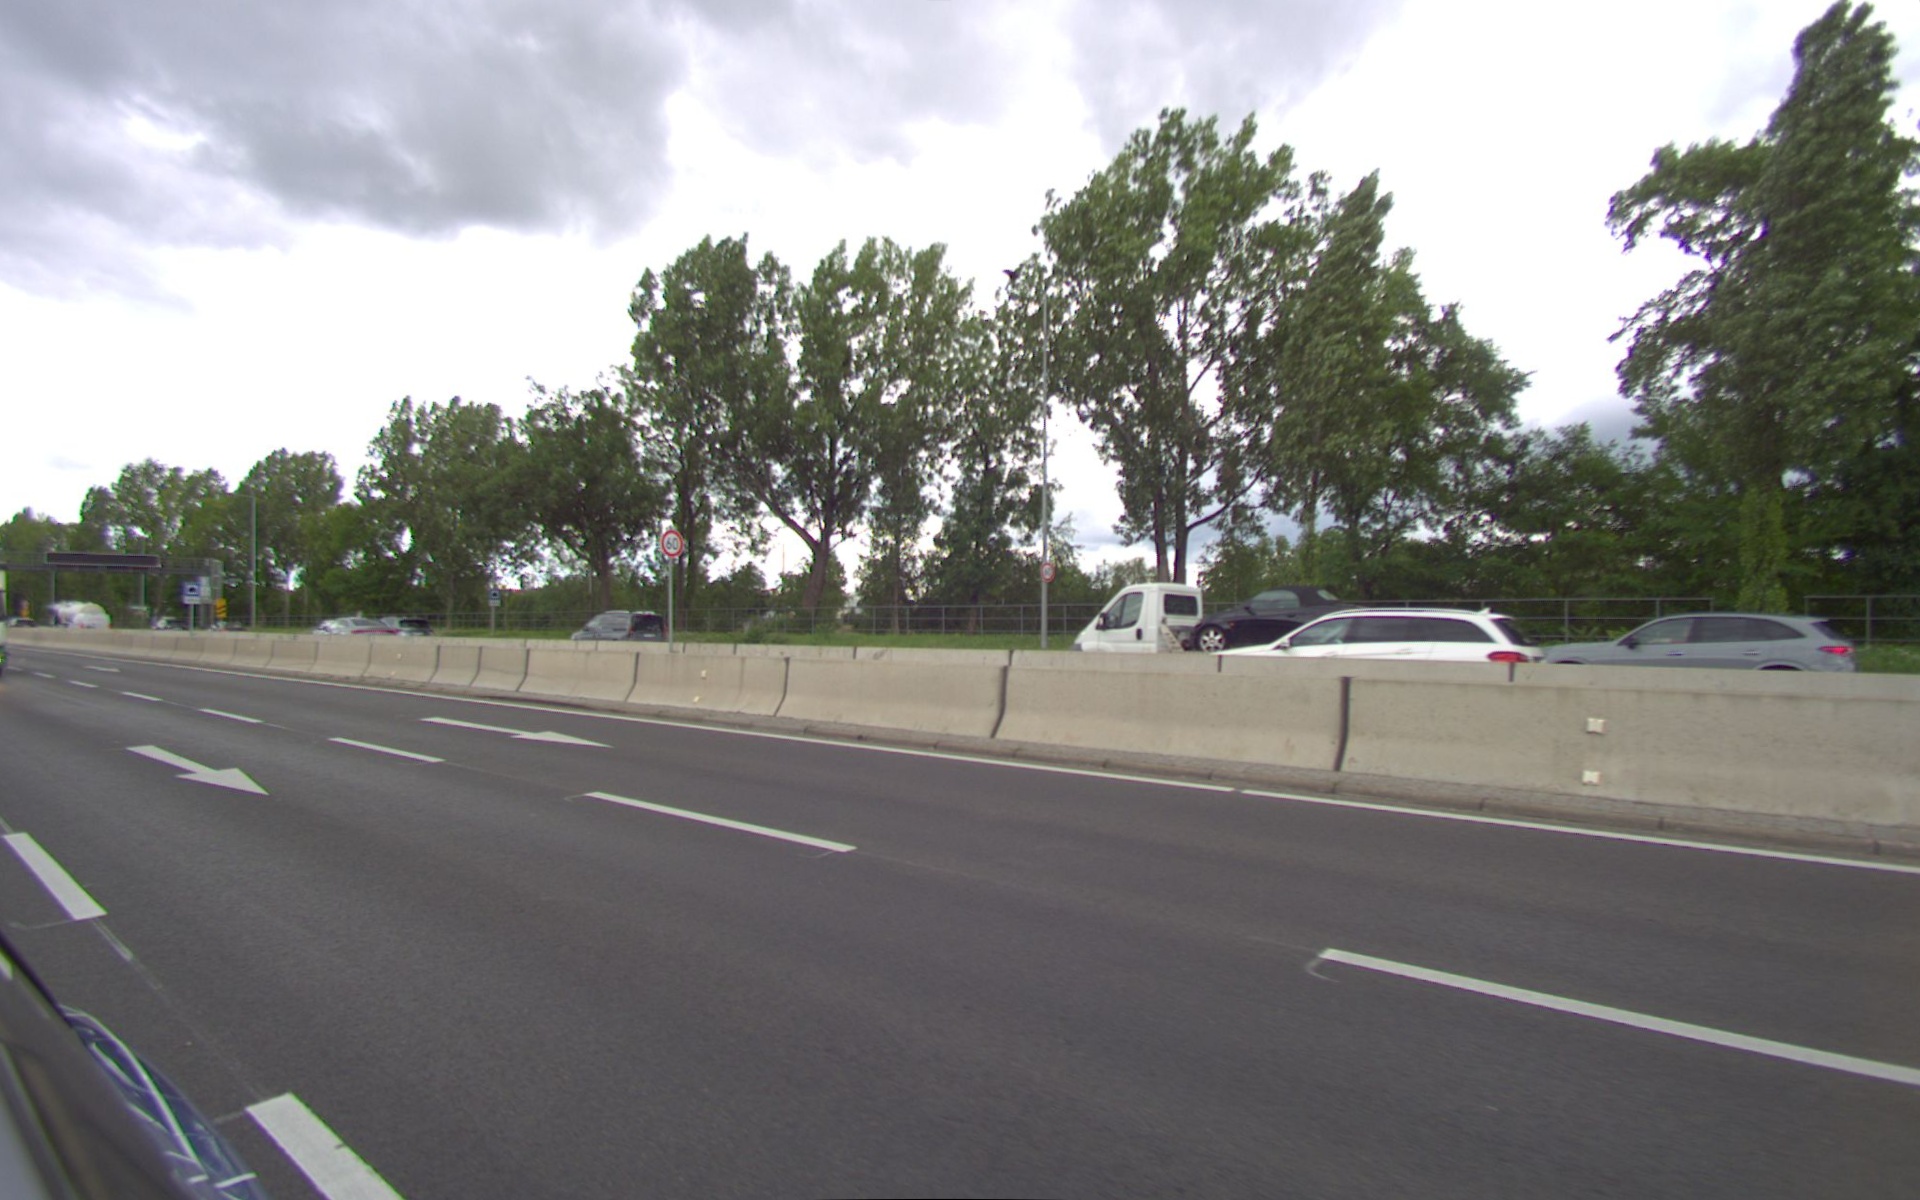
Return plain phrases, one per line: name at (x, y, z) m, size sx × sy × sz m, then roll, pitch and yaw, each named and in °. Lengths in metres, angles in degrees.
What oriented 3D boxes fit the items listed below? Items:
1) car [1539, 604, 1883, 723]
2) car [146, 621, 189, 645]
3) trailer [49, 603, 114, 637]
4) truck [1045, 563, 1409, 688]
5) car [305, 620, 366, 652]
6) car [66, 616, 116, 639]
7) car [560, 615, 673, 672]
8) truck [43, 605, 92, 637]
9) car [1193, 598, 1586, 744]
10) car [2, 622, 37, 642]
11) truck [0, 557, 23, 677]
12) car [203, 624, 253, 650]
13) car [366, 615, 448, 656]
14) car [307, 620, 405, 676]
car at (12.466, 0.987, 17.022) m, size 4.409 × 1.697 × 1.973 m, roll -2°, pitch 0°, yaw 41°
car at (-63.903, 2.664, 81.608) m, size 4.302 × 1.752 × 1.973 m, roll -2°, pitch 0°, yaw 42°
trailer at (-91.804, 2.111, 105.643) m, size 11.654 × 3.244 × 3.070 m, roll -2°, pitch 0°, yaw 39°
truck at (4.884, 0.464, 19.220) m, size 6.292 × 2.029 × 2.184 m, roll -2°, pitch 0°, yaw 38°
car at (-36.508, 2.088, 59.152) m, size 4.120 × 1.695 × 1.858 m, roll -2°, pitch 0°, yaw 41°
car at (-64.649, 2.087, 75.265) m, size 4.881 × 1.571 × 1.974 m, roll -2°, pitch 0°, yaw 40°
car at (-13.620, 1.698, 40.000) m, size 4.934 × 2.029 × 1.973 m, roll -2°, pitch 0°, yaw 41°
truck at (-96.636, 2.264, 109.587) m, size 5.385 × 3.243 × 3.068 m, roll -2°, pitch 0°, yaw 39°
car at (5.905, 0.894, 14.271) m, size 4.692 × 1.681 × 1.973 m, roll -2°, pitch 0°, yaw 41°
car at (-85.221, 2.910, 91.688) m, size 3.998 × 1.752 × 1.973 m, roll -2°, pitch 0°, yaw 42°
truck at (-28.672, 0.555, 28.074) m, size 8.380 × 3.106 × 2.906 m, roll -2°, pitch 0°, yaw 40°
car at (-53.221, 2.662, 73.566) m, size 4.468 × 1.752 × 1.973 m, roll -2°, pitch 0°, yaw 42°
car at (-24.633, 1.567, 45.031) m, size 4.123 × 1.695 × 1.858 m, roll -2°, pitch 0°, yaw 41°
car at (-23.905, 1.866, 39.992) m, size 4.679 × 2.029 × 1.973 m, roll -2°, pitch 0°, yaw 41°
